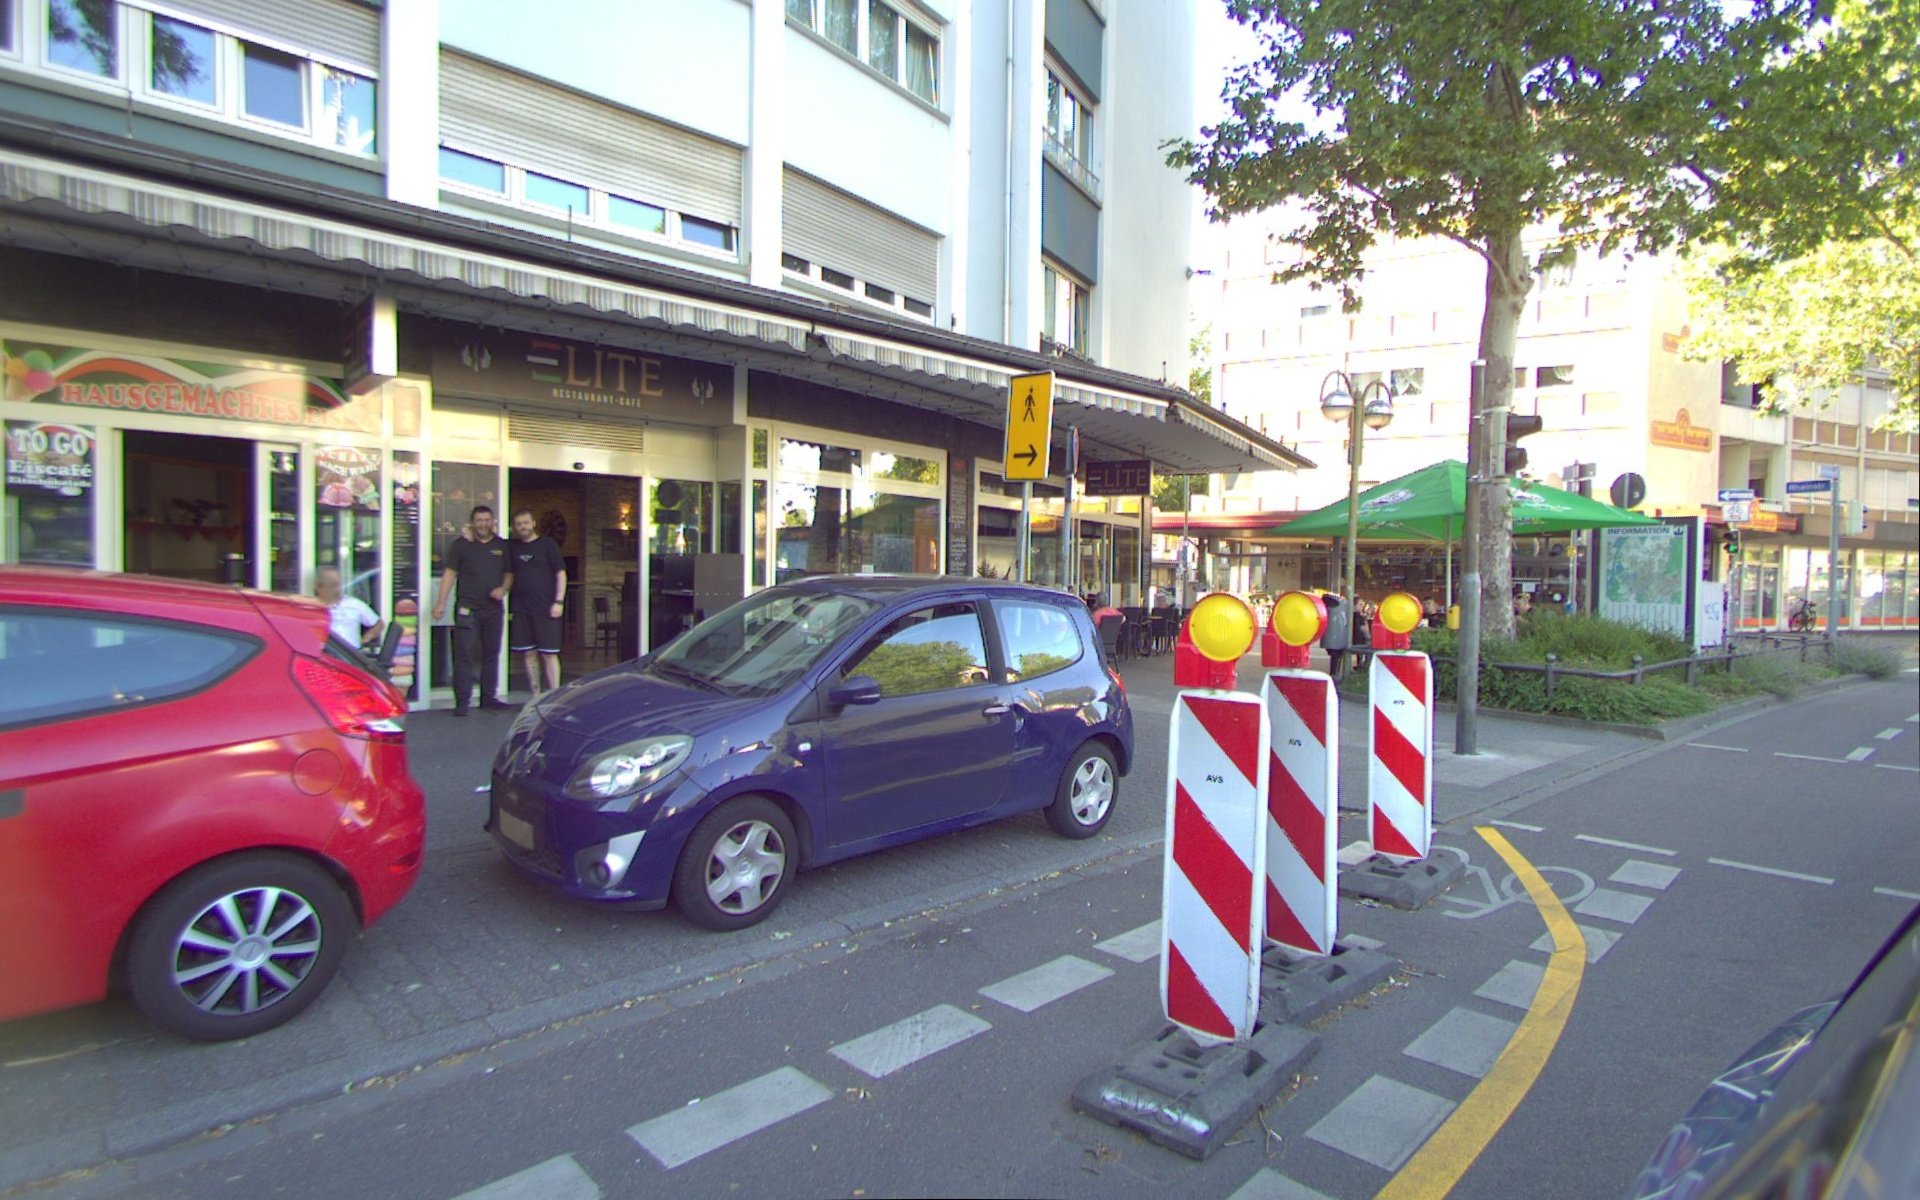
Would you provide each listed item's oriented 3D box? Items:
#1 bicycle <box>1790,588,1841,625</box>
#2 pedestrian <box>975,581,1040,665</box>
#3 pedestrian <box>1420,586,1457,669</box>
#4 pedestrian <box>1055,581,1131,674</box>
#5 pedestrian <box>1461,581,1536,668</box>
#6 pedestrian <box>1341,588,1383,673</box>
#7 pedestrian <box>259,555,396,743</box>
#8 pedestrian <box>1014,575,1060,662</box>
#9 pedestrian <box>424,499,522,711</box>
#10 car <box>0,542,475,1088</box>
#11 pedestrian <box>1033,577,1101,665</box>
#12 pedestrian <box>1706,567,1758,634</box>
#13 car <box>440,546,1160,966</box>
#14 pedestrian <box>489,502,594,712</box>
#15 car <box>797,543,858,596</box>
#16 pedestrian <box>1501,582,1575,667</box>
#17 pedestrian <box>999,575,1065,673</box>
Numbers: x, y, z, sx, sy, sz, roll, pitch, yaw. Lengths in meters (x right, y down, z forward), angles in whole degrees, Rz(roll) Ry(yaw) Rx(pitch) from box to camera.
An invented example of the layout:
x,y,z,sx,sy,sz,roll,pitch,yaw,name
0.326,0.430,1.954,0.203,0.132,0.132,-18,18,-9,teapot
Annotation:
x,y,z,sx,sy,sz,roll,pitch,yaw,name
28.116,0.210,33.249,1.933,1.157,0.530,0,1,-26,bicycle
0.694,0.317,14.651,0.710,1.144,0.645,3,1,25,pedestrian
7.447,0.414,15.766,0.427,1.234,0.465,3,2,20,pedestrian
1.848,0.364,14.022,0.838,1.213,0.644,3,1,27,pedestrian
8.410,0.368,15.816,0.752,1.301,0.721,0,1,-27,pedestrian
5.939,0.447,14.967,0.460,1.235,0.432,1,0,5,pedestrian
-4.832,0.318,7.706,0.765,1.247,1.207,-1,5,-38,pedestrian
1.157,0.271,15.273,0.541,1.259,0.521,2,1,-7,pedestrian
-4.237,0.025,8.796,0.587,1.756,0.589,1,3,-40,pedestrian
-3.652,0.561,2.847,1.667,1.446,3.786,5,4,44,car
1.579,0.294,14.912,0.664,1.233,0.706,3,1,43,pedestrian
21.005,0.003,27.548,0.883,1.779,0.751,0,1,-24,pedestrian
-0.651,0.528,5.492,3.545,1.484,1.621,0,4,-44,car
-3.723,0.040,8.998,0.636,1.780,0.611,1,3,-43,pedestrian
-4.660,-1.067,36.161,1.960,1.771,4.004,1,1,-5,car
9.260,0.377,16.219,0.753,1.301,0.720,0,1,-28,pedestrian
0.984,0.311,13.747,0.644,1.267,0.711,3,1,25,pedestrian
